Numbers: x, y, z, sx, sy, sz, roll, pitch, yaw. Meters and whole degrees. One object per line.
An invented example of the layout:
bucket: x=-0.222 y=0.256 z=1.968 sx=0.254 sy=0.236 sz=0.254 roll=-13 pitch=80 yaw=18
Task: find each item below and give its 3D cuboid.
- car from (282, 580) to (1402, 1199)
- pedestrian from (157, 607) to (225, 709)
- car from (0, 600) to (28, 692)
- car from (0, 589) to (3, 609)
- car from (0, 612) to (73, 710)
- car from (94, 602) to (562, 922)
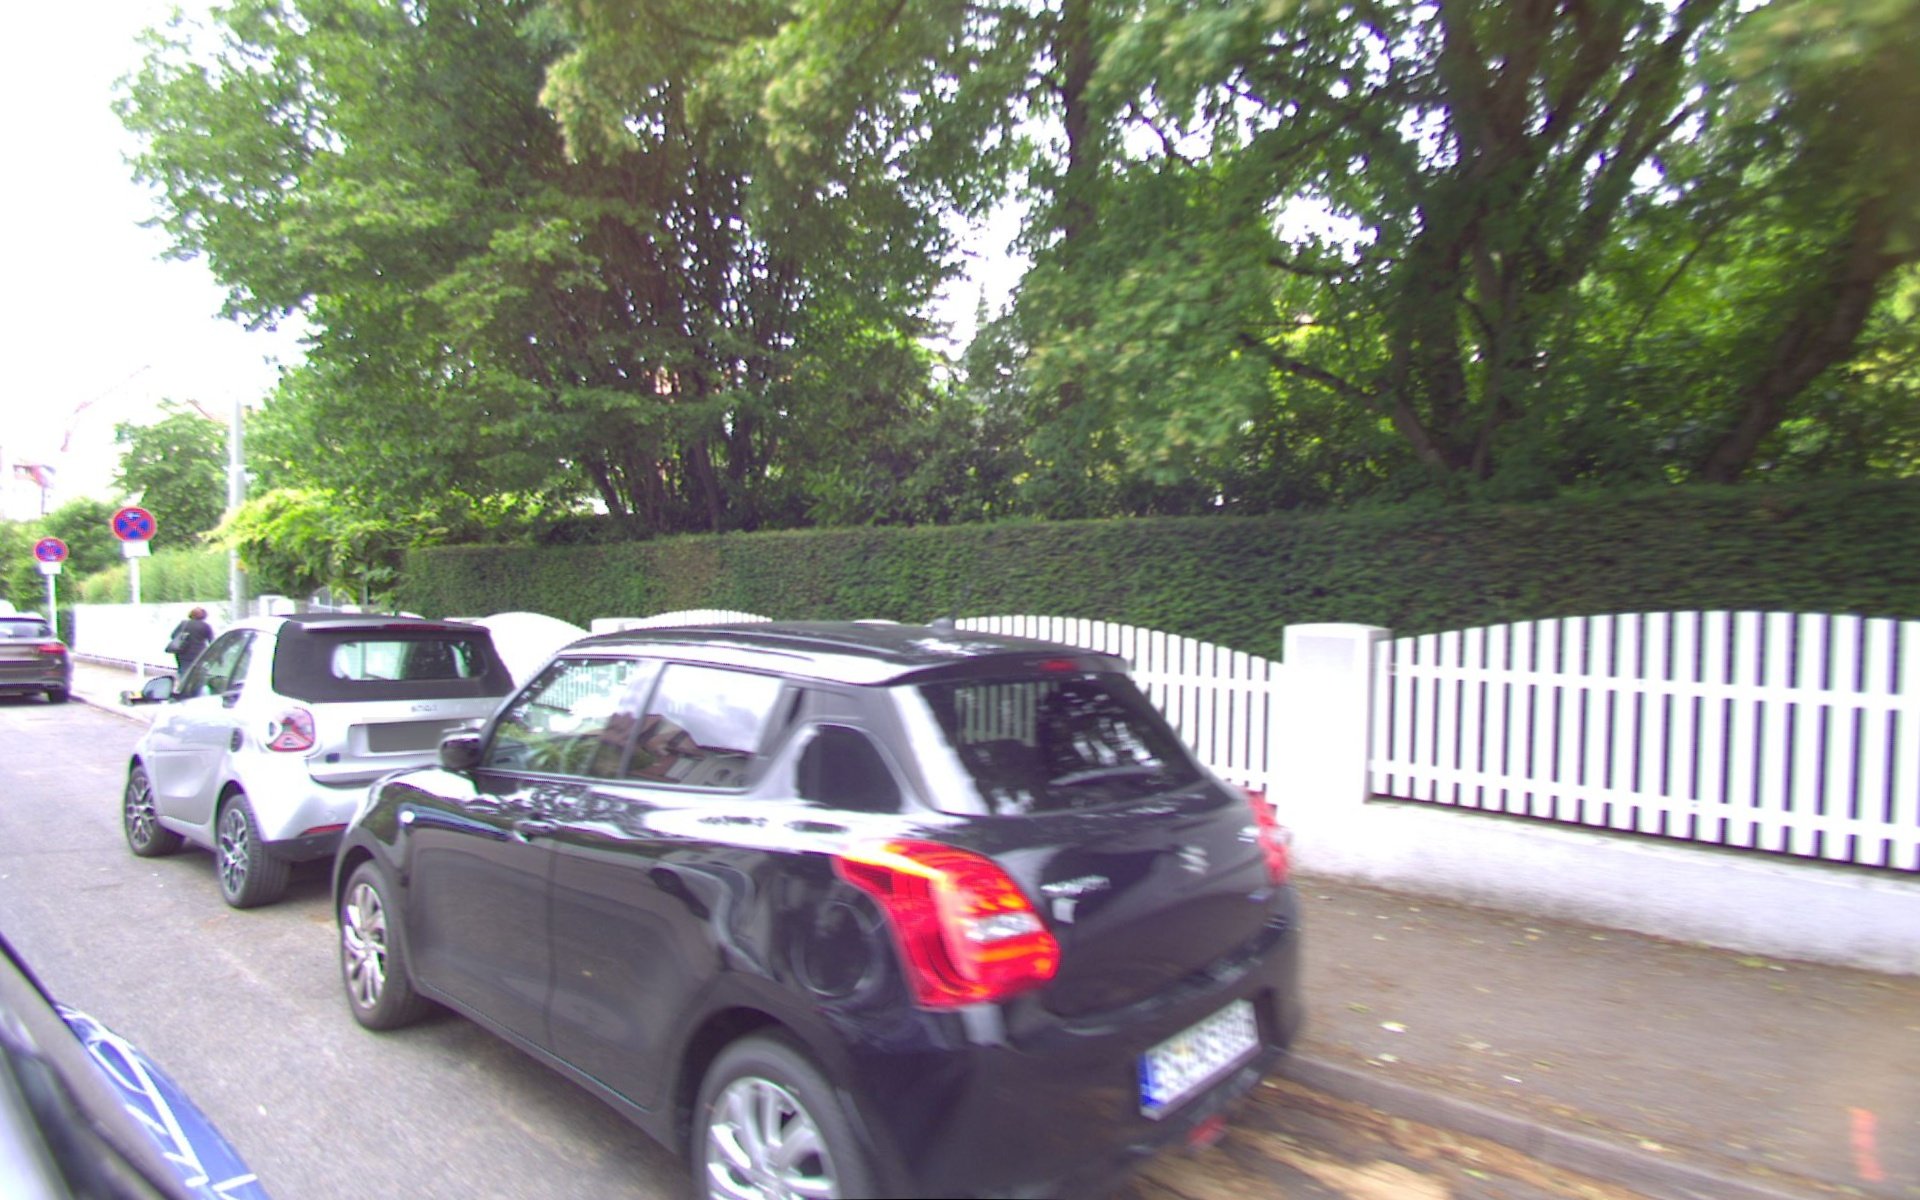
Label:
car: x=-0.775 y=0.784 z=3.467 sx=3.887 sy=1.492 sz=1.637 roll=-1 pitch=-3 yaw=42
pedestrian: x=-12.464 y=0.922 z=16.407 sx=0.797 sy=1.557 sz=0.602 roll=-1 pitch=4 yaw=41
car: x=-22.232 y=0.962 z=22.429 sx=4.618 sy=1.928 sz=1.835 roll=0 pitch=-2 yaw=42
car: x=-73.732 y=0.002 z=76.441 sx=1.617 sy=1.439 sz=4.133 roll=2 pitch=2 yaw=-38
car: x=-17.775 y=1.056 z=18.407 sx=4.338 sy=1.635 sz=1.773 roll=-1 pitch=-2 yaw=39
car: x=-4.098 y=0.833 z=6.469 sx=2.958 sy=1.545 sz=1.606 roll=-1 pitch=-3 yaw=38
